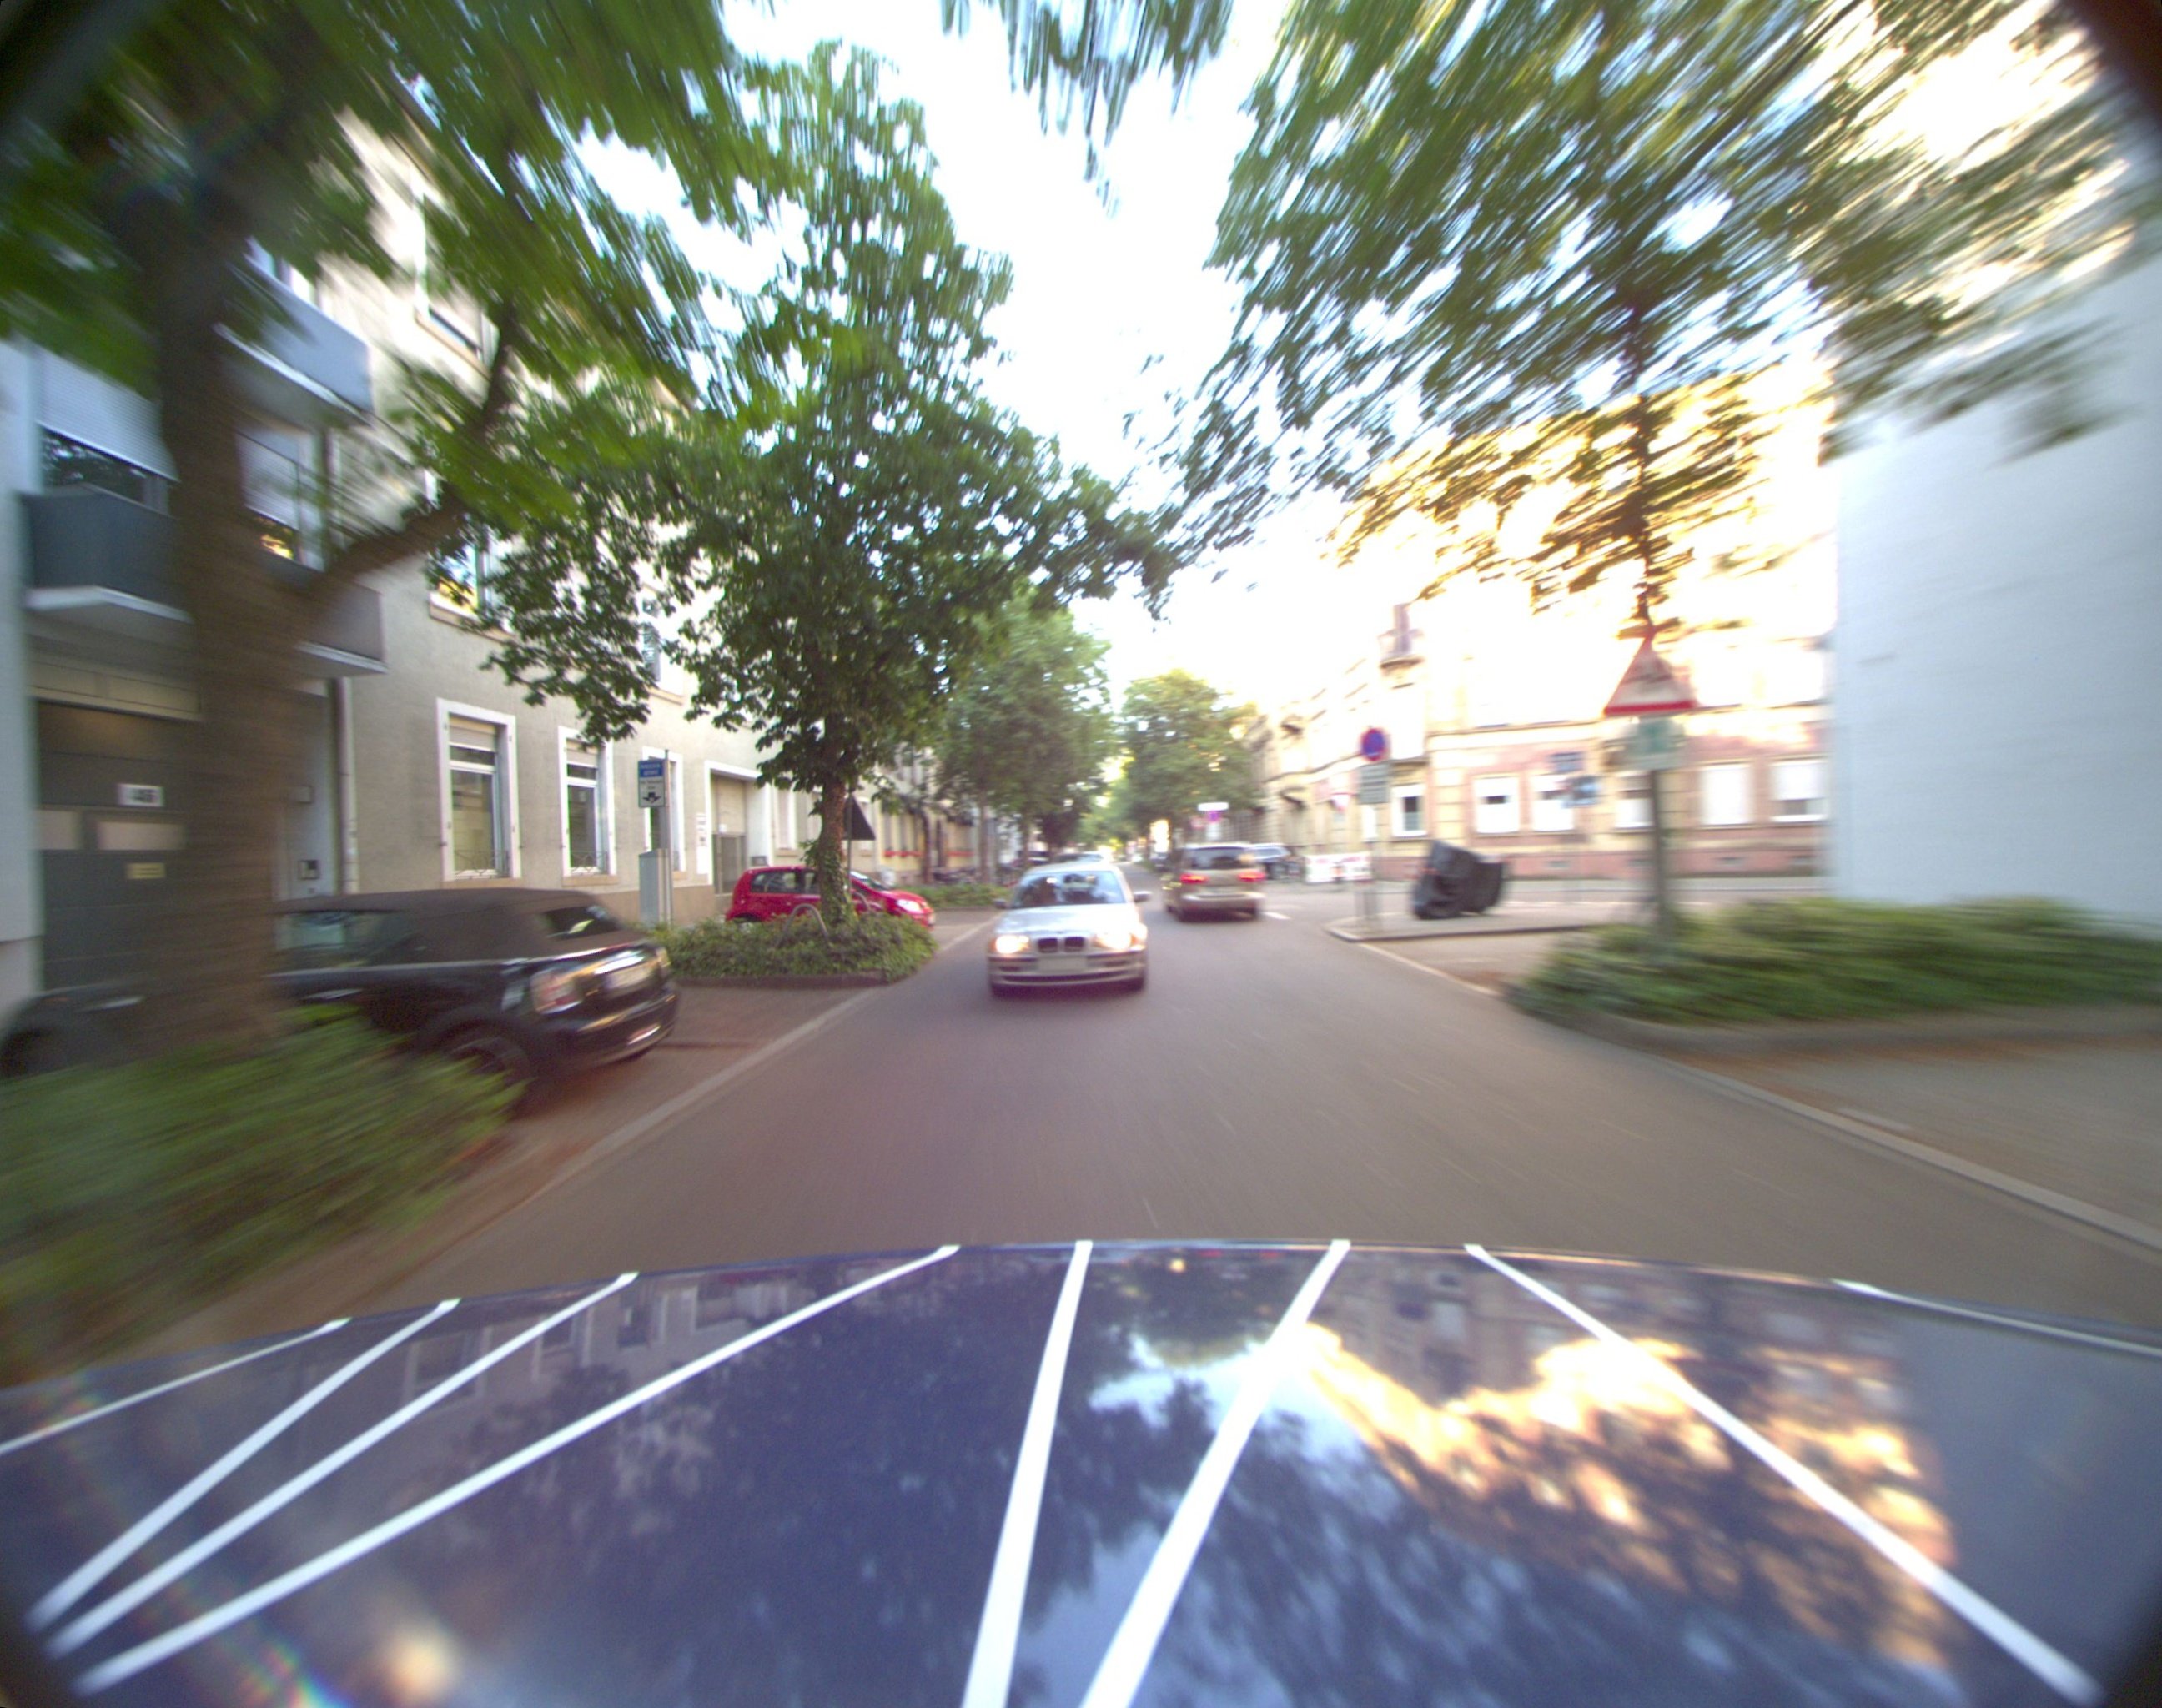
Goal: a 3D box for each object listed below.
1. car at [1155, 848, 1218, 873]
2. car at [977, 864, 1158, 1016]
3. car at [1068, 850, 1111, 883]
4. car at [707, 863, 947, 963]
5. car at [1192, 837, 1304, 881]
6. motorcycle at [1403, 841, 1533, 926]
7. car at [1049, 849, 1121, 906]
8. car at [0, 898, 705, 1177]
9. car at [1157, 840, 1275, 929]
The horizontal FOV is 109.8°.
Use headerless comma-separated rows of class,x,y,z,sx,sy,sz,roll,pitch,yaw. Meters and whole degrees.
car,7.971,0.517,57.782,4.528,1.706,2.000,-2,1,3
car,-0.050,0.882,9.650,1.736,1.363,4.333,-2,0,2
car,0.530,0.668,43.068,1.915,1.679,3.972,-2,0,7
car,-4.482,1.013,13.839,3.731,1.544,1.754,-2,1,0
car,7.310,0.220,33.709,4.601,1.725,2.142,-2,1,7
motorcycle,7.347,0.524,14.437,2.233,1.461,0.900,-2,1,-20
car,0.213,0.705,25.086,1.892,1.636,4.001,-3,0,6
car,-4.927,1.087,5.162,3.845,1.403,1.712,-1,1,-2
car,2.835,0.580,16.913,1.787,1.679,4.385,-2,0,0
